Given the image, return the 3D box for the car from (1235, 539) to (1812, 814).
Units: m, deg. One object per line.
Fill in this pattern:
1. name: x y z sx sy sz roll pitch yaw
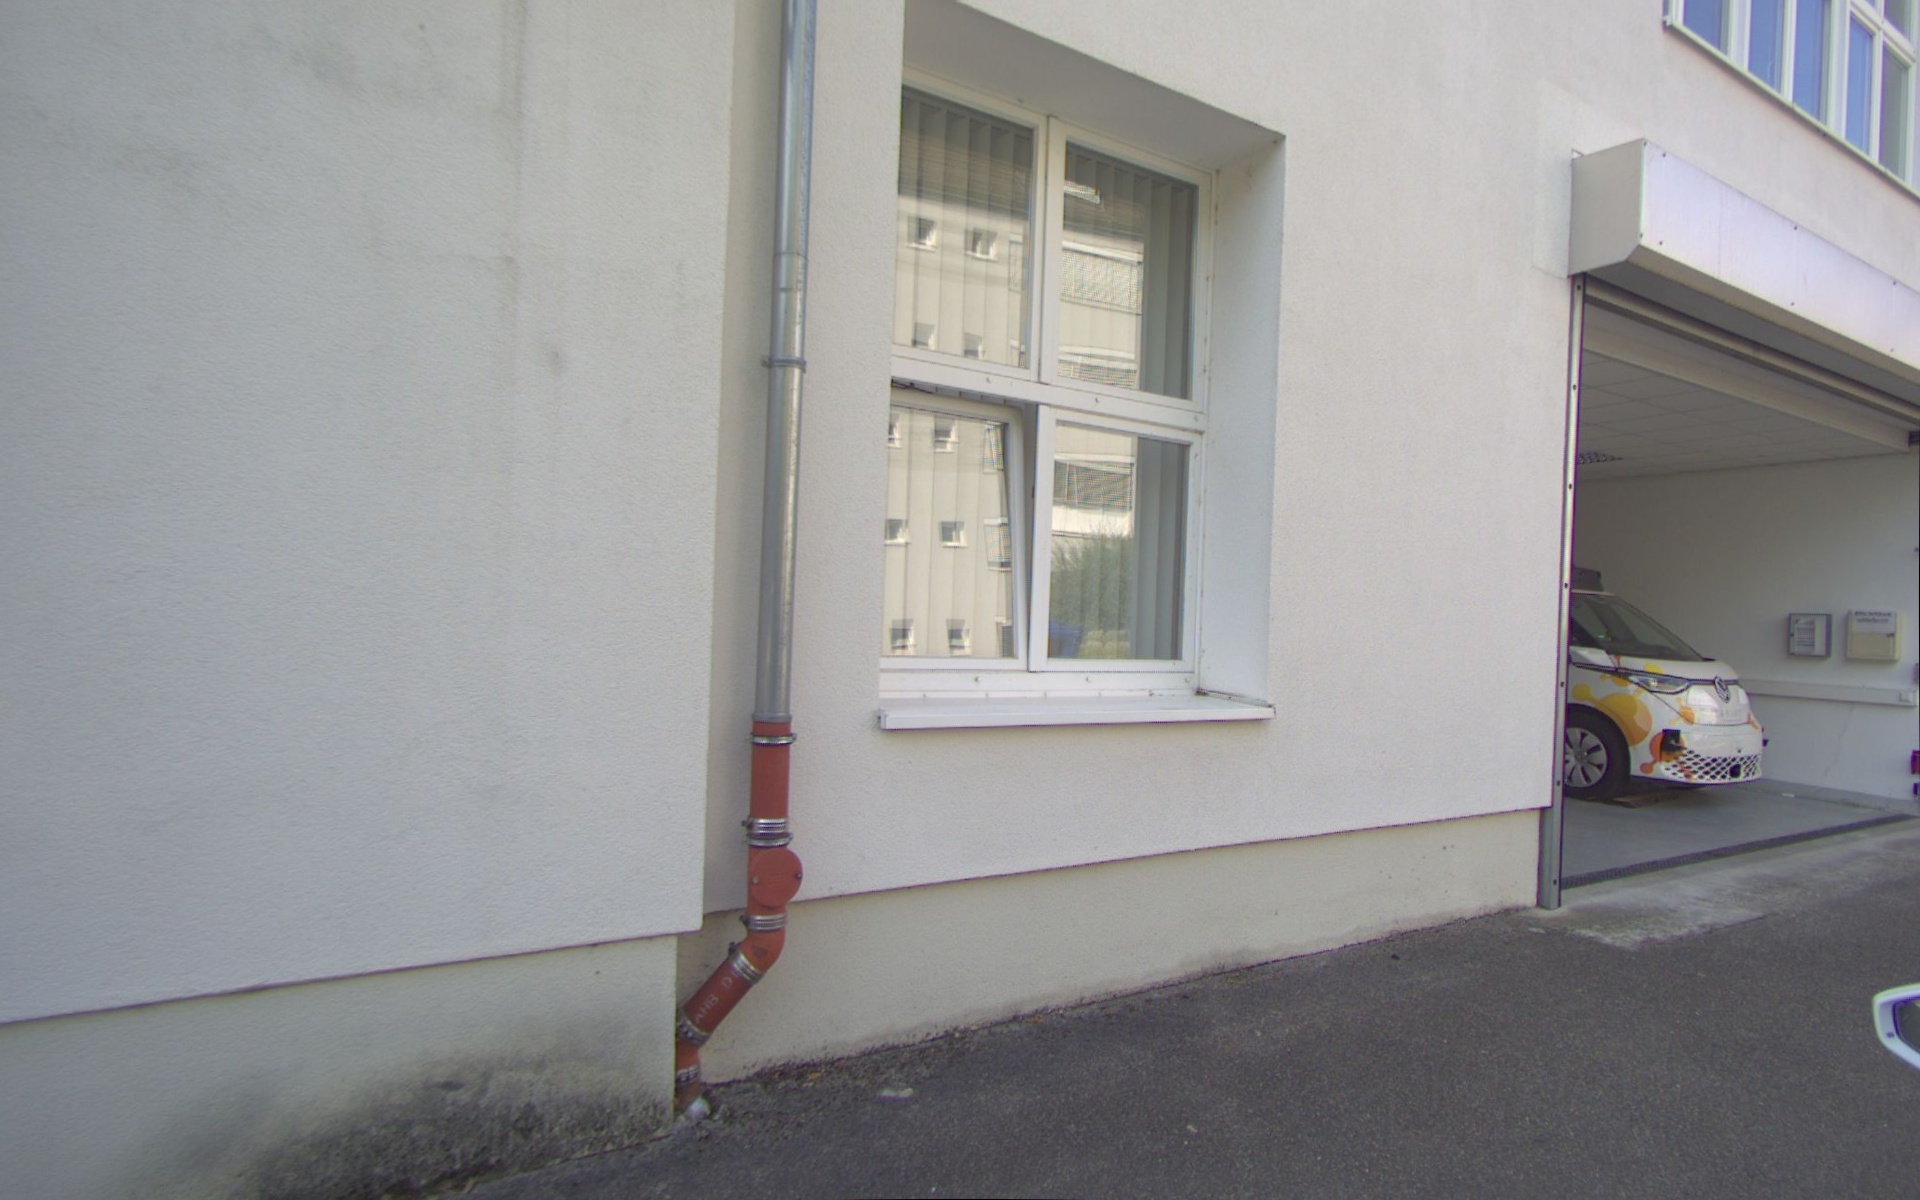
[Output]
1. car: 5.335 0.571 10.299 2.032 2.120 4.724 3 0 -30
